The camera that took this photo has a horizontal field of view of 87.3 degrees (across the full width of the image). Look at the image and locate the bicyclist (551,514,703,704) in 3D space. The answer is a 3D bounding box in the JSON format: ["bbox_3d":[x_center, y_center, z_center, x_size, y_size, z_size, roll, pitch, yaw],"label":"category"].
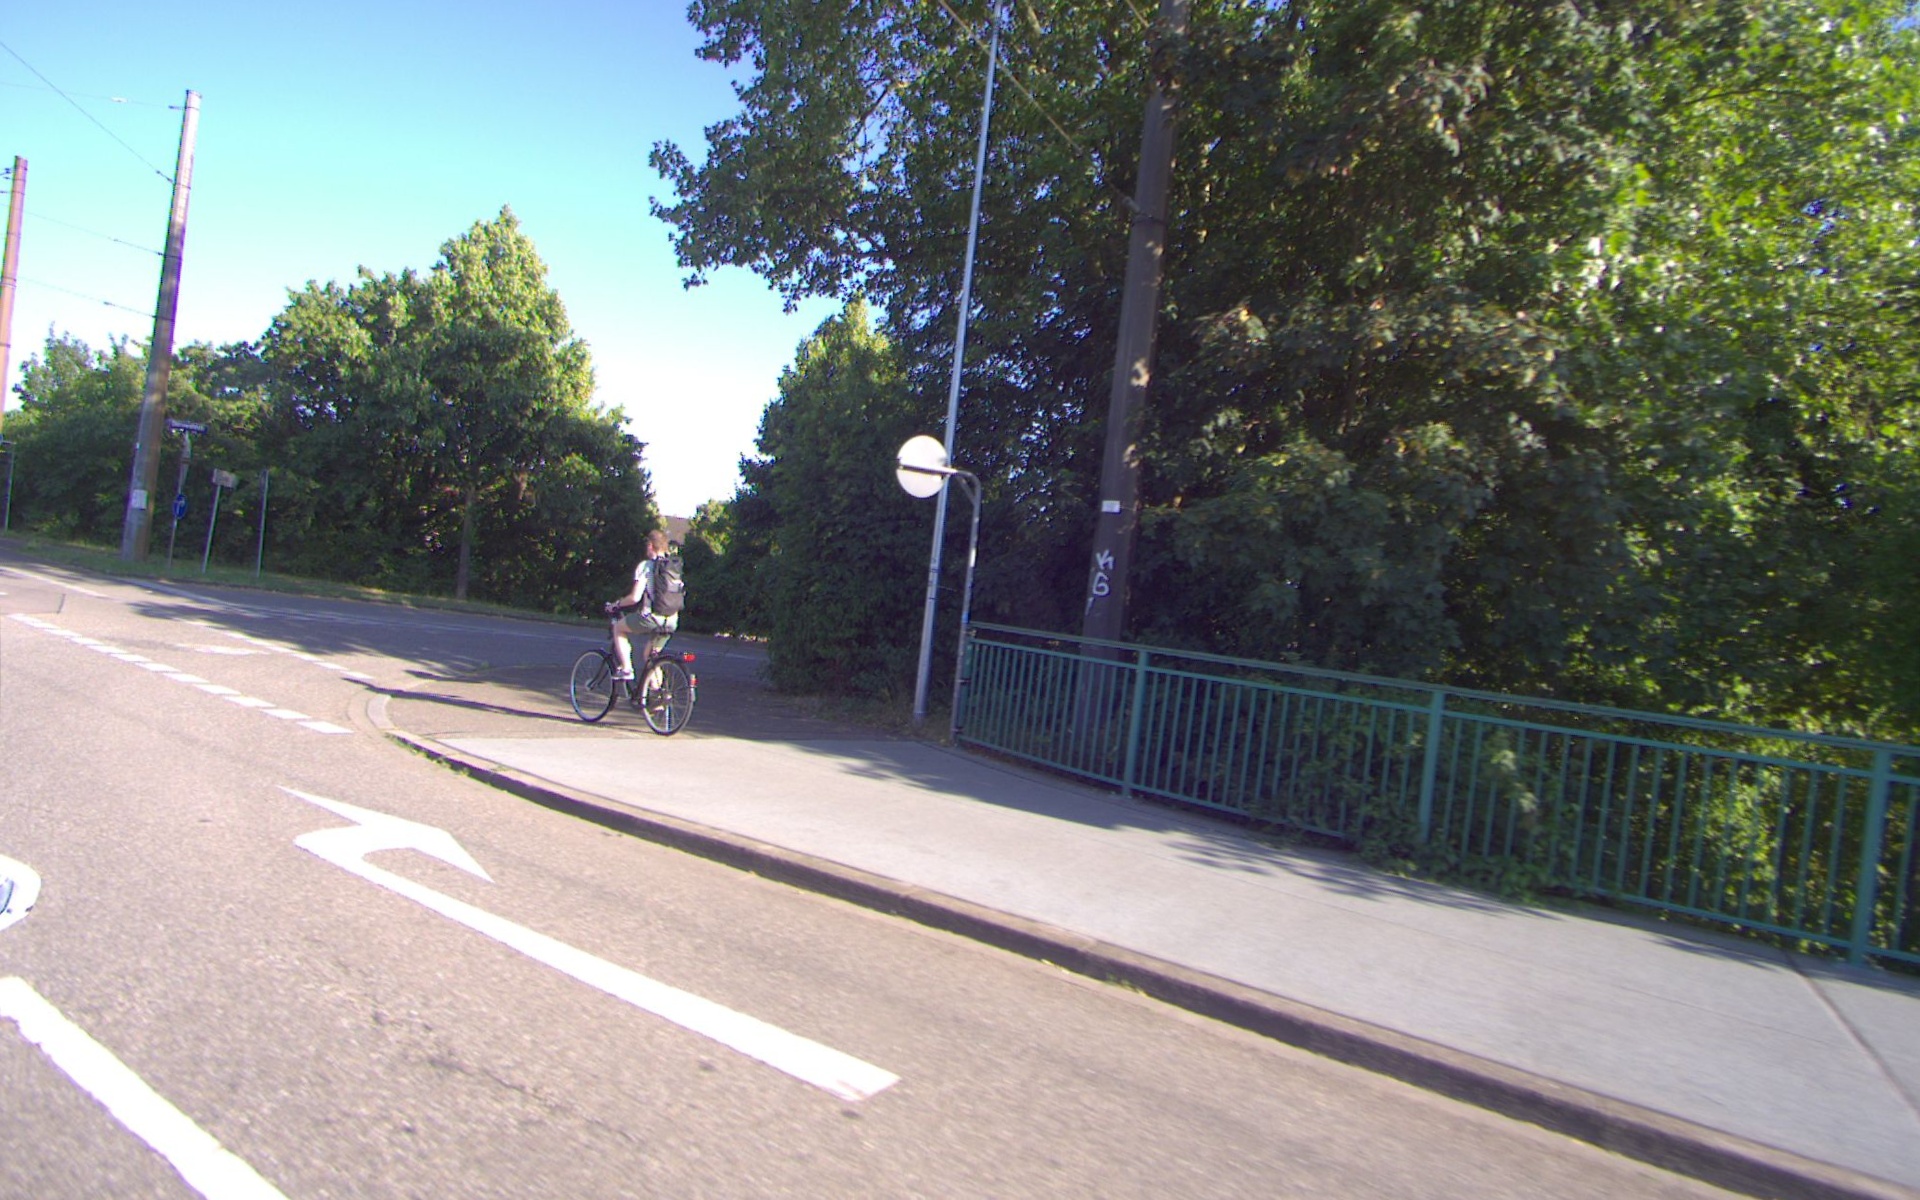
[{"bbox_3d":[-3.222,0.090,9.729,1.185,1.709,0.731,3,-3,38],"label":"bicyclist"}]

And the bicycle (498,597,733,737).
[{"bbox_3d":[-3.421,0.607,9.814,2.702,1.135,0.731,2,-3,38],"label":"bicycle"}]
